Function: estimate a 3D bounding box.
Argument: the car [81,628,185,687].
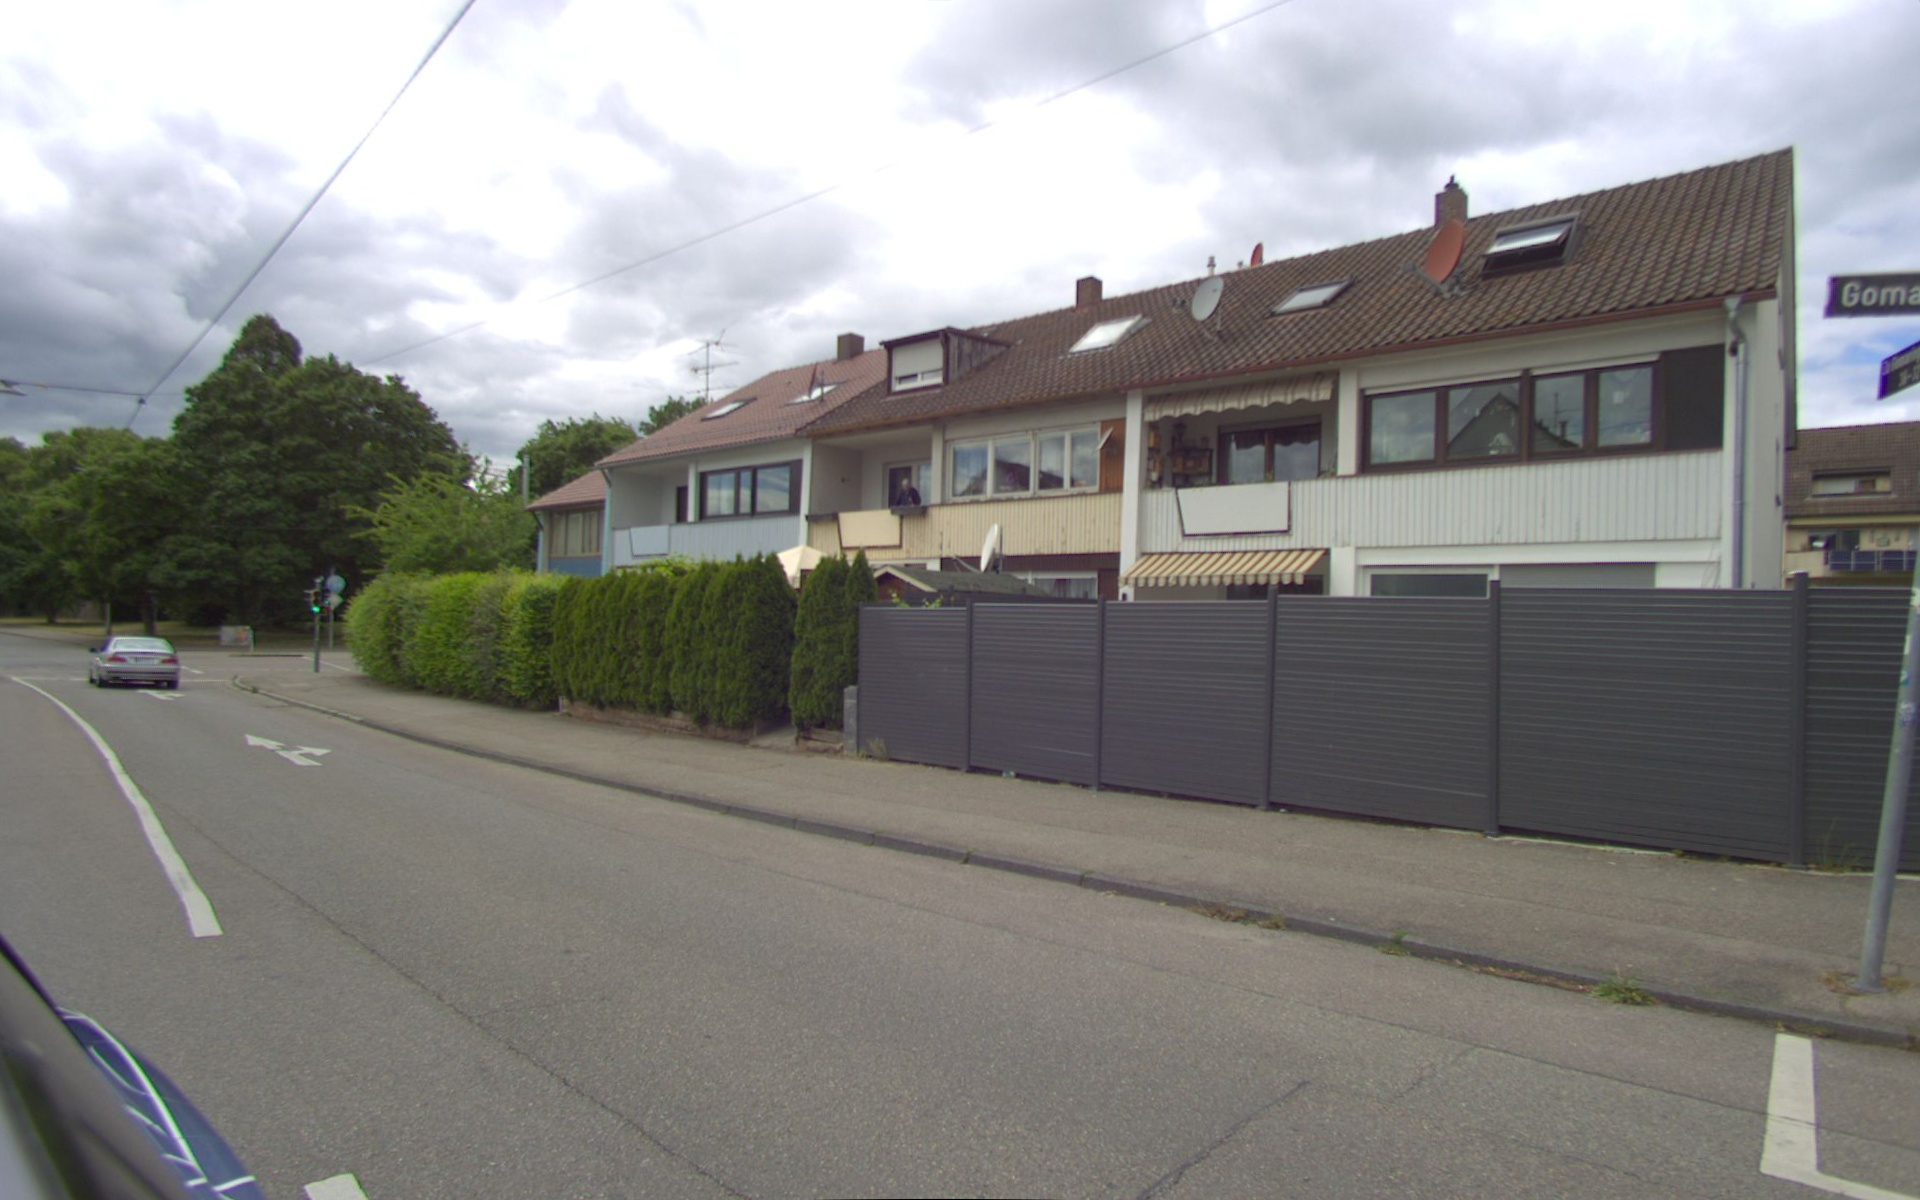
[{"bbox_3d":[-22.675,1.551,27.699,4.085,1.364,1.693,-1,-7,45],"label":"car"}]
